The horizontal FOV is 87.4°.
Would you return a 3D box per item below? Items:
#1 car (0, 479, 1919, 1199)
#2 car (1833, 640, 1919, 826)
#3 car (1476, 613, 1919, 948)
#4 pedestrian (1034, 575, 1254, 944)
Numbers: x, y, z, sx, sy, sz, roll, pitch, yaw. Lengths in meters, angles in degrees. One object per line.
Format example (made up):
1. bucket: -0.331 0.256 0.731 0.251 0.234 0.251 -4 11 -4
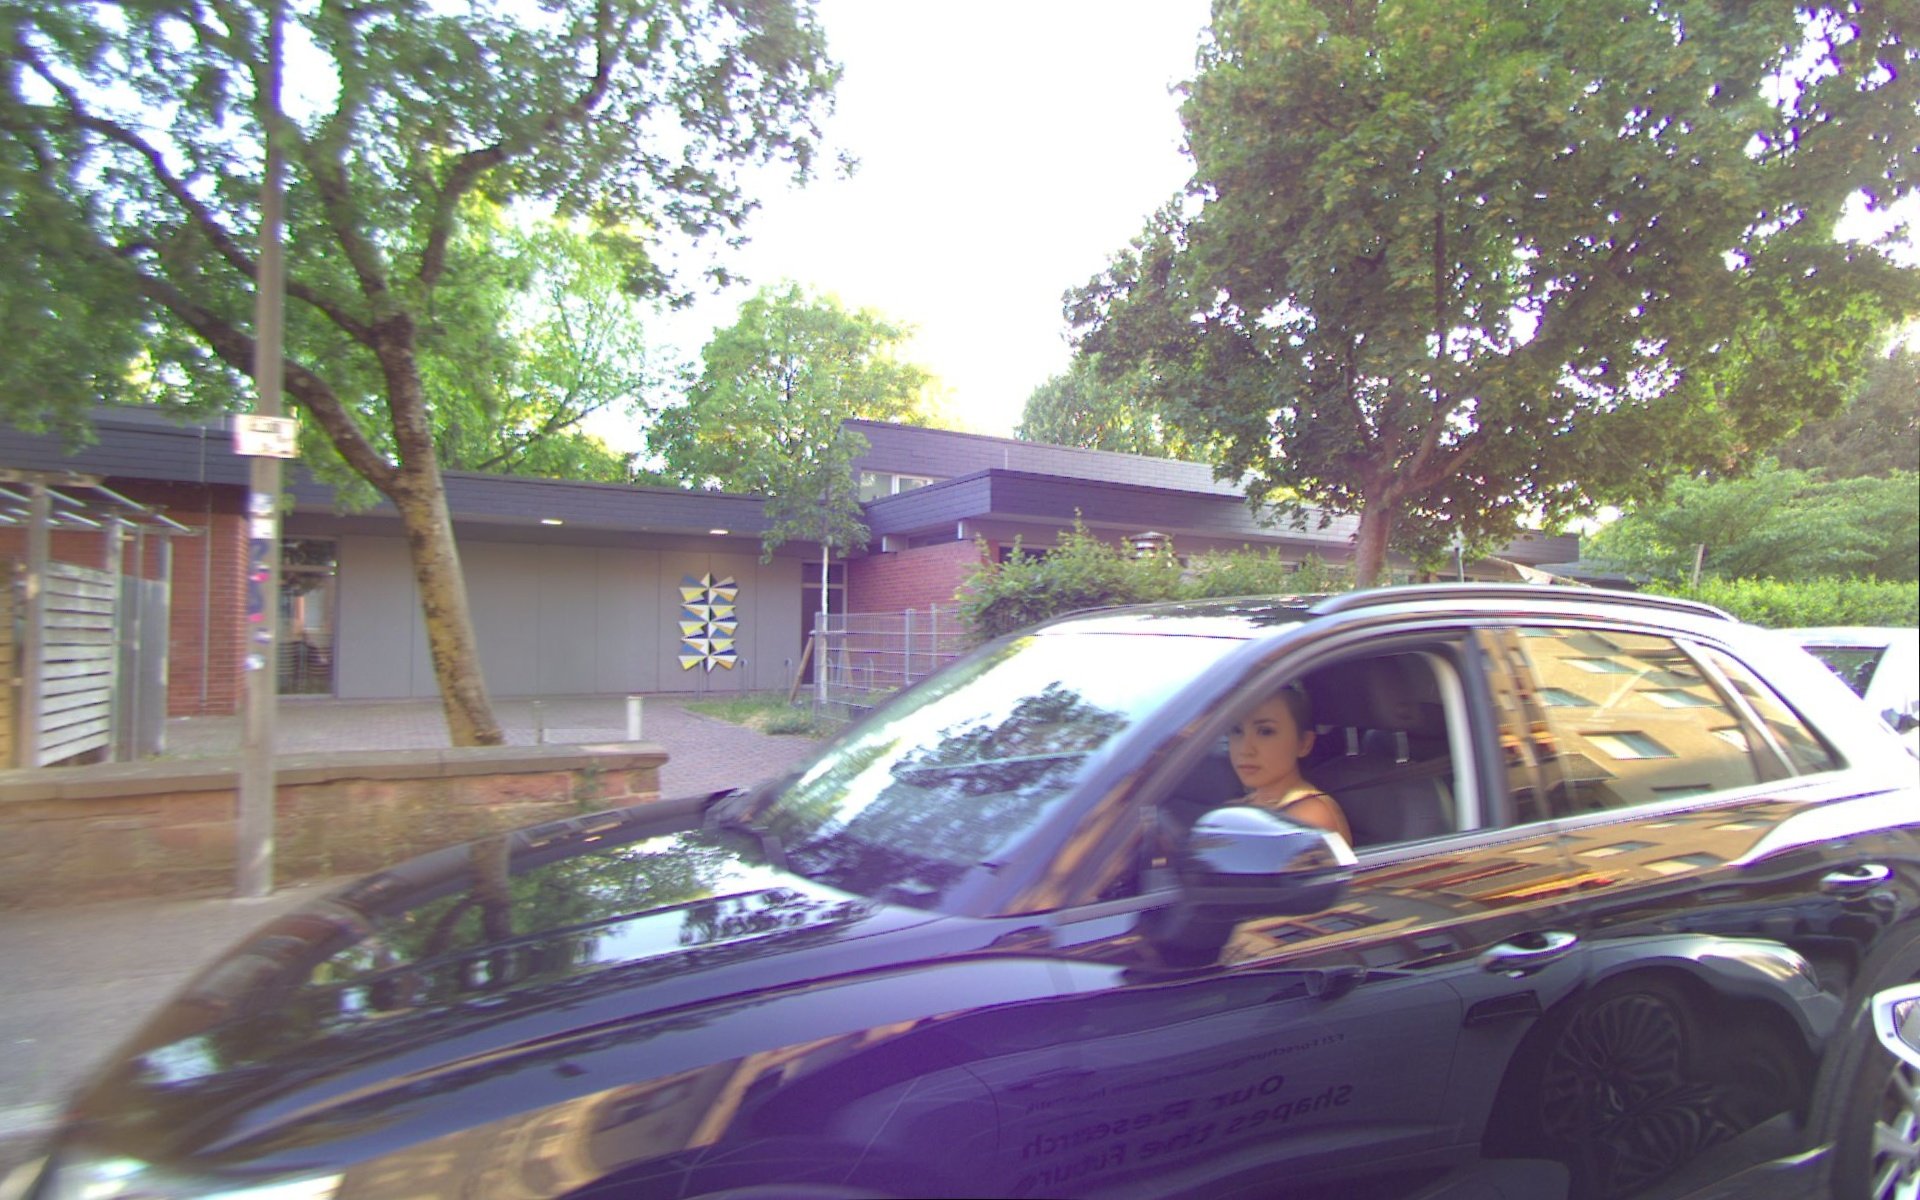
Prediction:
1. car: 0.788 0.779 2.497 4.500 1.590 1.801 2 -3 -23
2. car: 10.041 1.169 9.345 4.056 1.575 1.845 2 -4 -33
3. car: 5.551 1.003 6.732 3.951 1.652 1.777 2 -4 -28
4. pedestrian: 1.017 0.814 5.662 0.778 1.854 0.933 2 -1 -31
